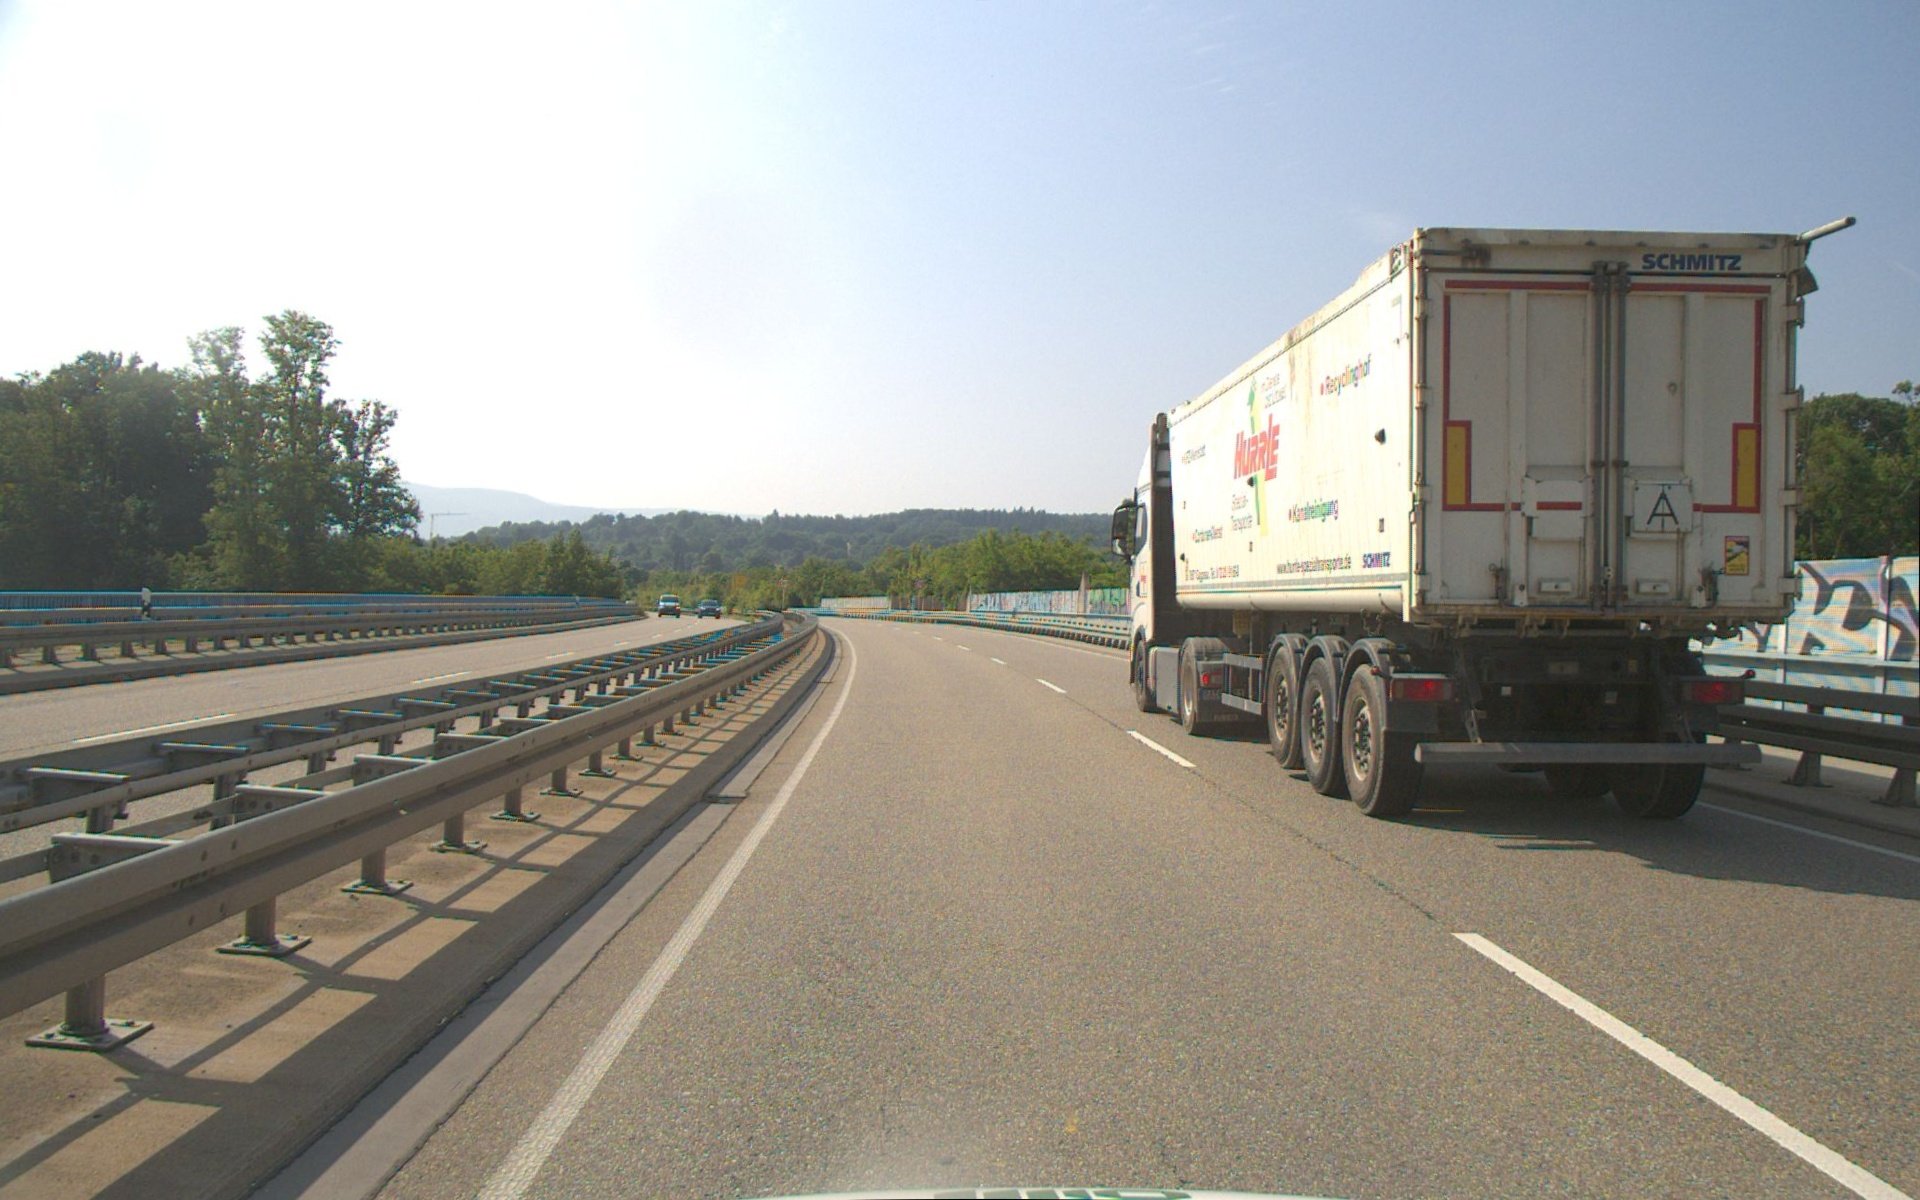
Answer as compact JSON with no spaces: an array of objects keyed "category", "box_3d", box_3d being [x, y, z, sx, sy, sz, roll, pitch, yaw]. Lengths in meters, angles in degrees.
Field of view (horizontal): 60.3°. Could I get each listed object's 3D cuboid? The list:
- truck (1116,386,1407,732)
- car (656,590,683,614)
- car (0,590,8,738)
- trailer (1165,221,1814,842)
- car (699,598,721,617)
[{"category":"truck","box_3d":[3.762,-0.497,21.992,2.605,3.964,5.646,1,1,-2]},{"category":"car","box_3d":[-25.576,0.183,145.630,1.999,2.041,5.300,2,0,-7]},{"category":"car","box_3d":[-10.651,0.631,15.054,1.614,1.529,4.000,2,0,0]},{"category":"trailer","box_3d":[4.031,-0.461,15.517,2.625,3.975,9.668,1,0,-2]},{"category":"car","box_3d":[-23.008,0.650,152.344,1.829,1.635,4.412,2,0,-7]}]
